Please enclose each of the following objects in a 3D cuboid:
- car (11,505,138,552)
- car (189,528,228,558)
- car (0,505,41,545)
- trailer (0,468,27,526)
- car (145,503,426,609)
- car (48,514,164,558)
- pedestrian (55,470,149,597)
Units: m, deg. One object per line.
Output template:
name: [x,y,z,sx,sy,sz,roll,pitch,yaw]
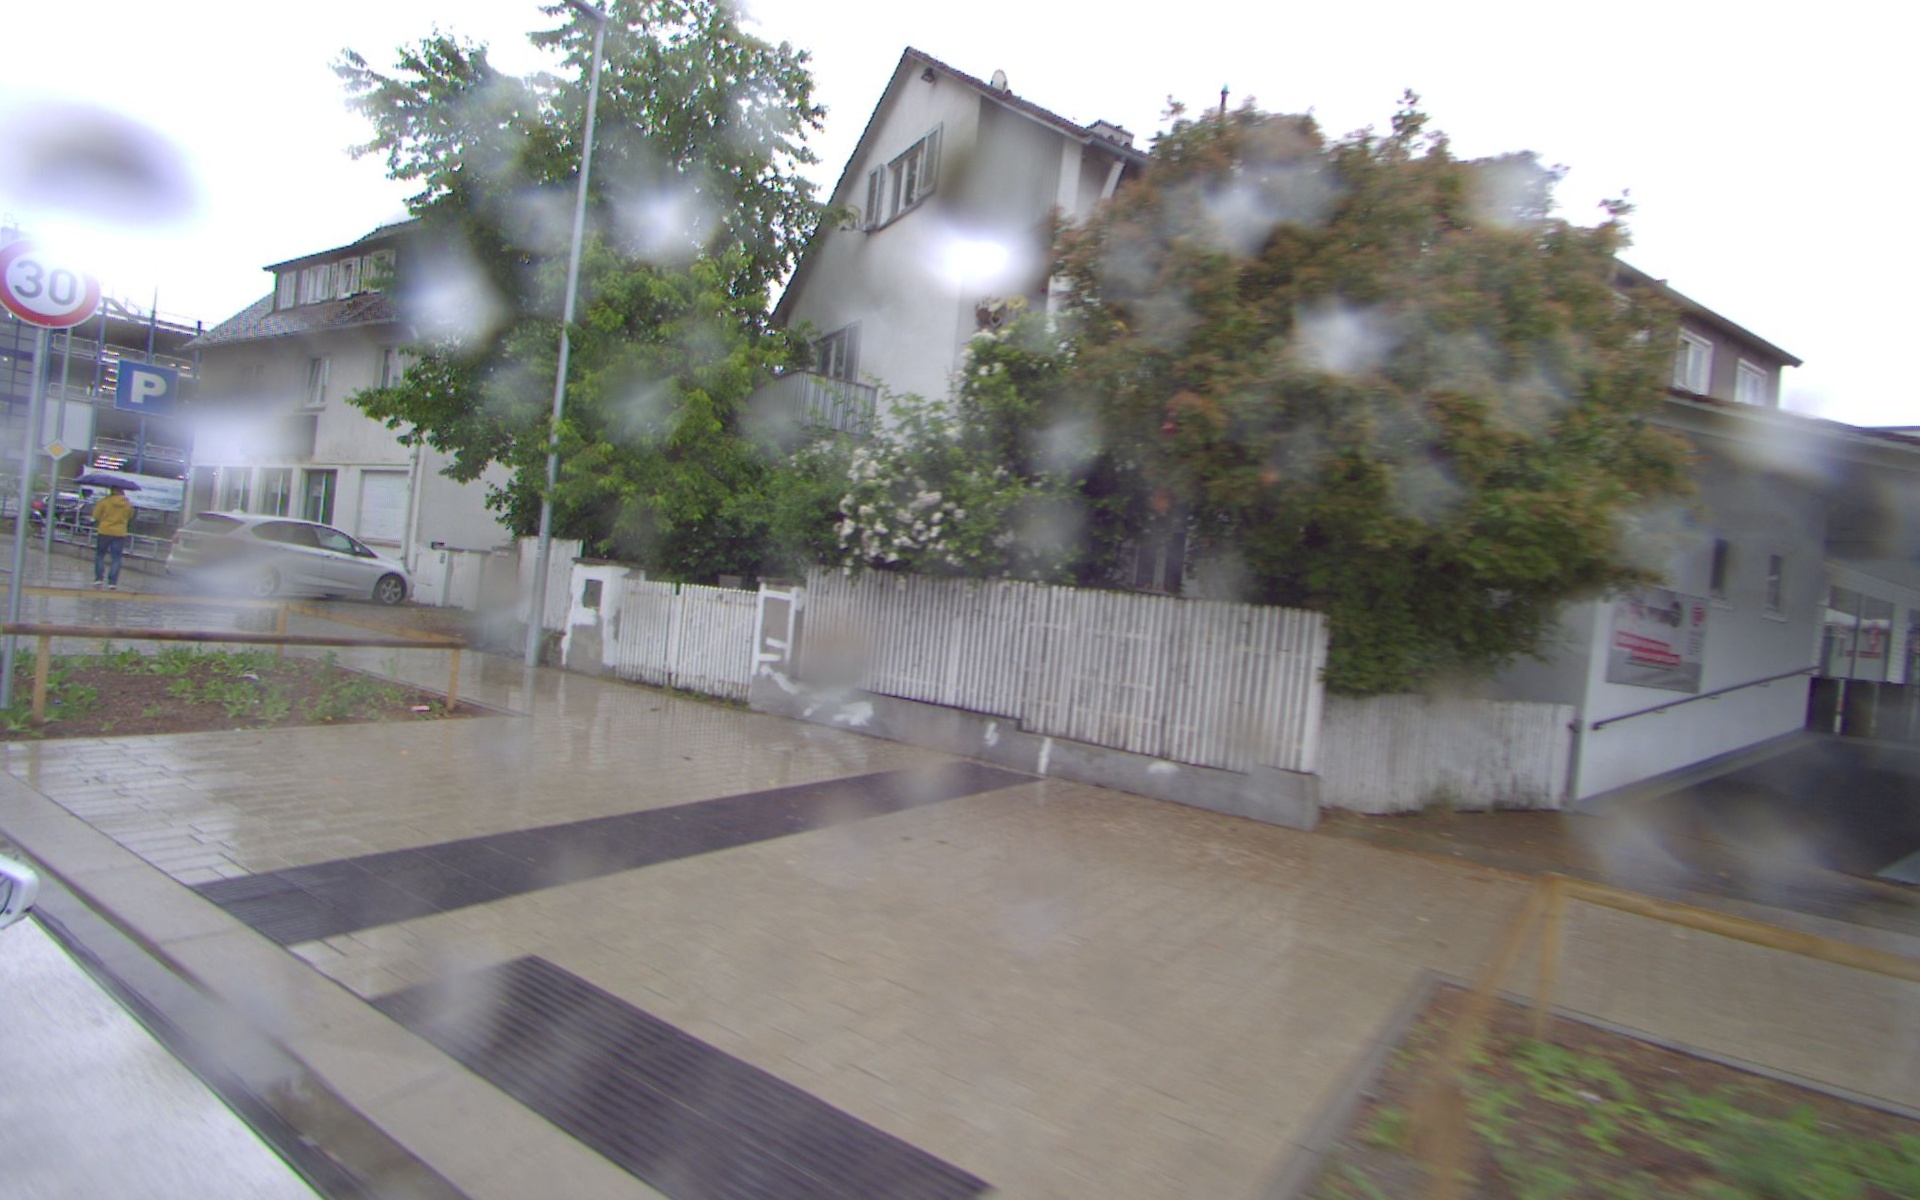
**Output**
car: [-44.061,-3.520,50.130,1.815,1.671,4.359,6,-1,34]
car: [-50.438,-3.848,67.506,1.723,1.700,3.953,6,0,-41]
car: [-41.314,-3.313,42.238,1.625,1.547,3.725,5,-1,36]
trailer: [-39.467,-4.283,40.292,1.525,2.197,2.701,6,-1,38]
car: [-13.085,-0.788,19.830,1.963,1.600,4.139,6,0,22]
car: [-40.021,-2.990,47.209,1.703,1.466,3.730,6,-1,33]
pedestrian: [-14.683,-1.132,17.215,1.176,2.040,0.858,6,2,34]
